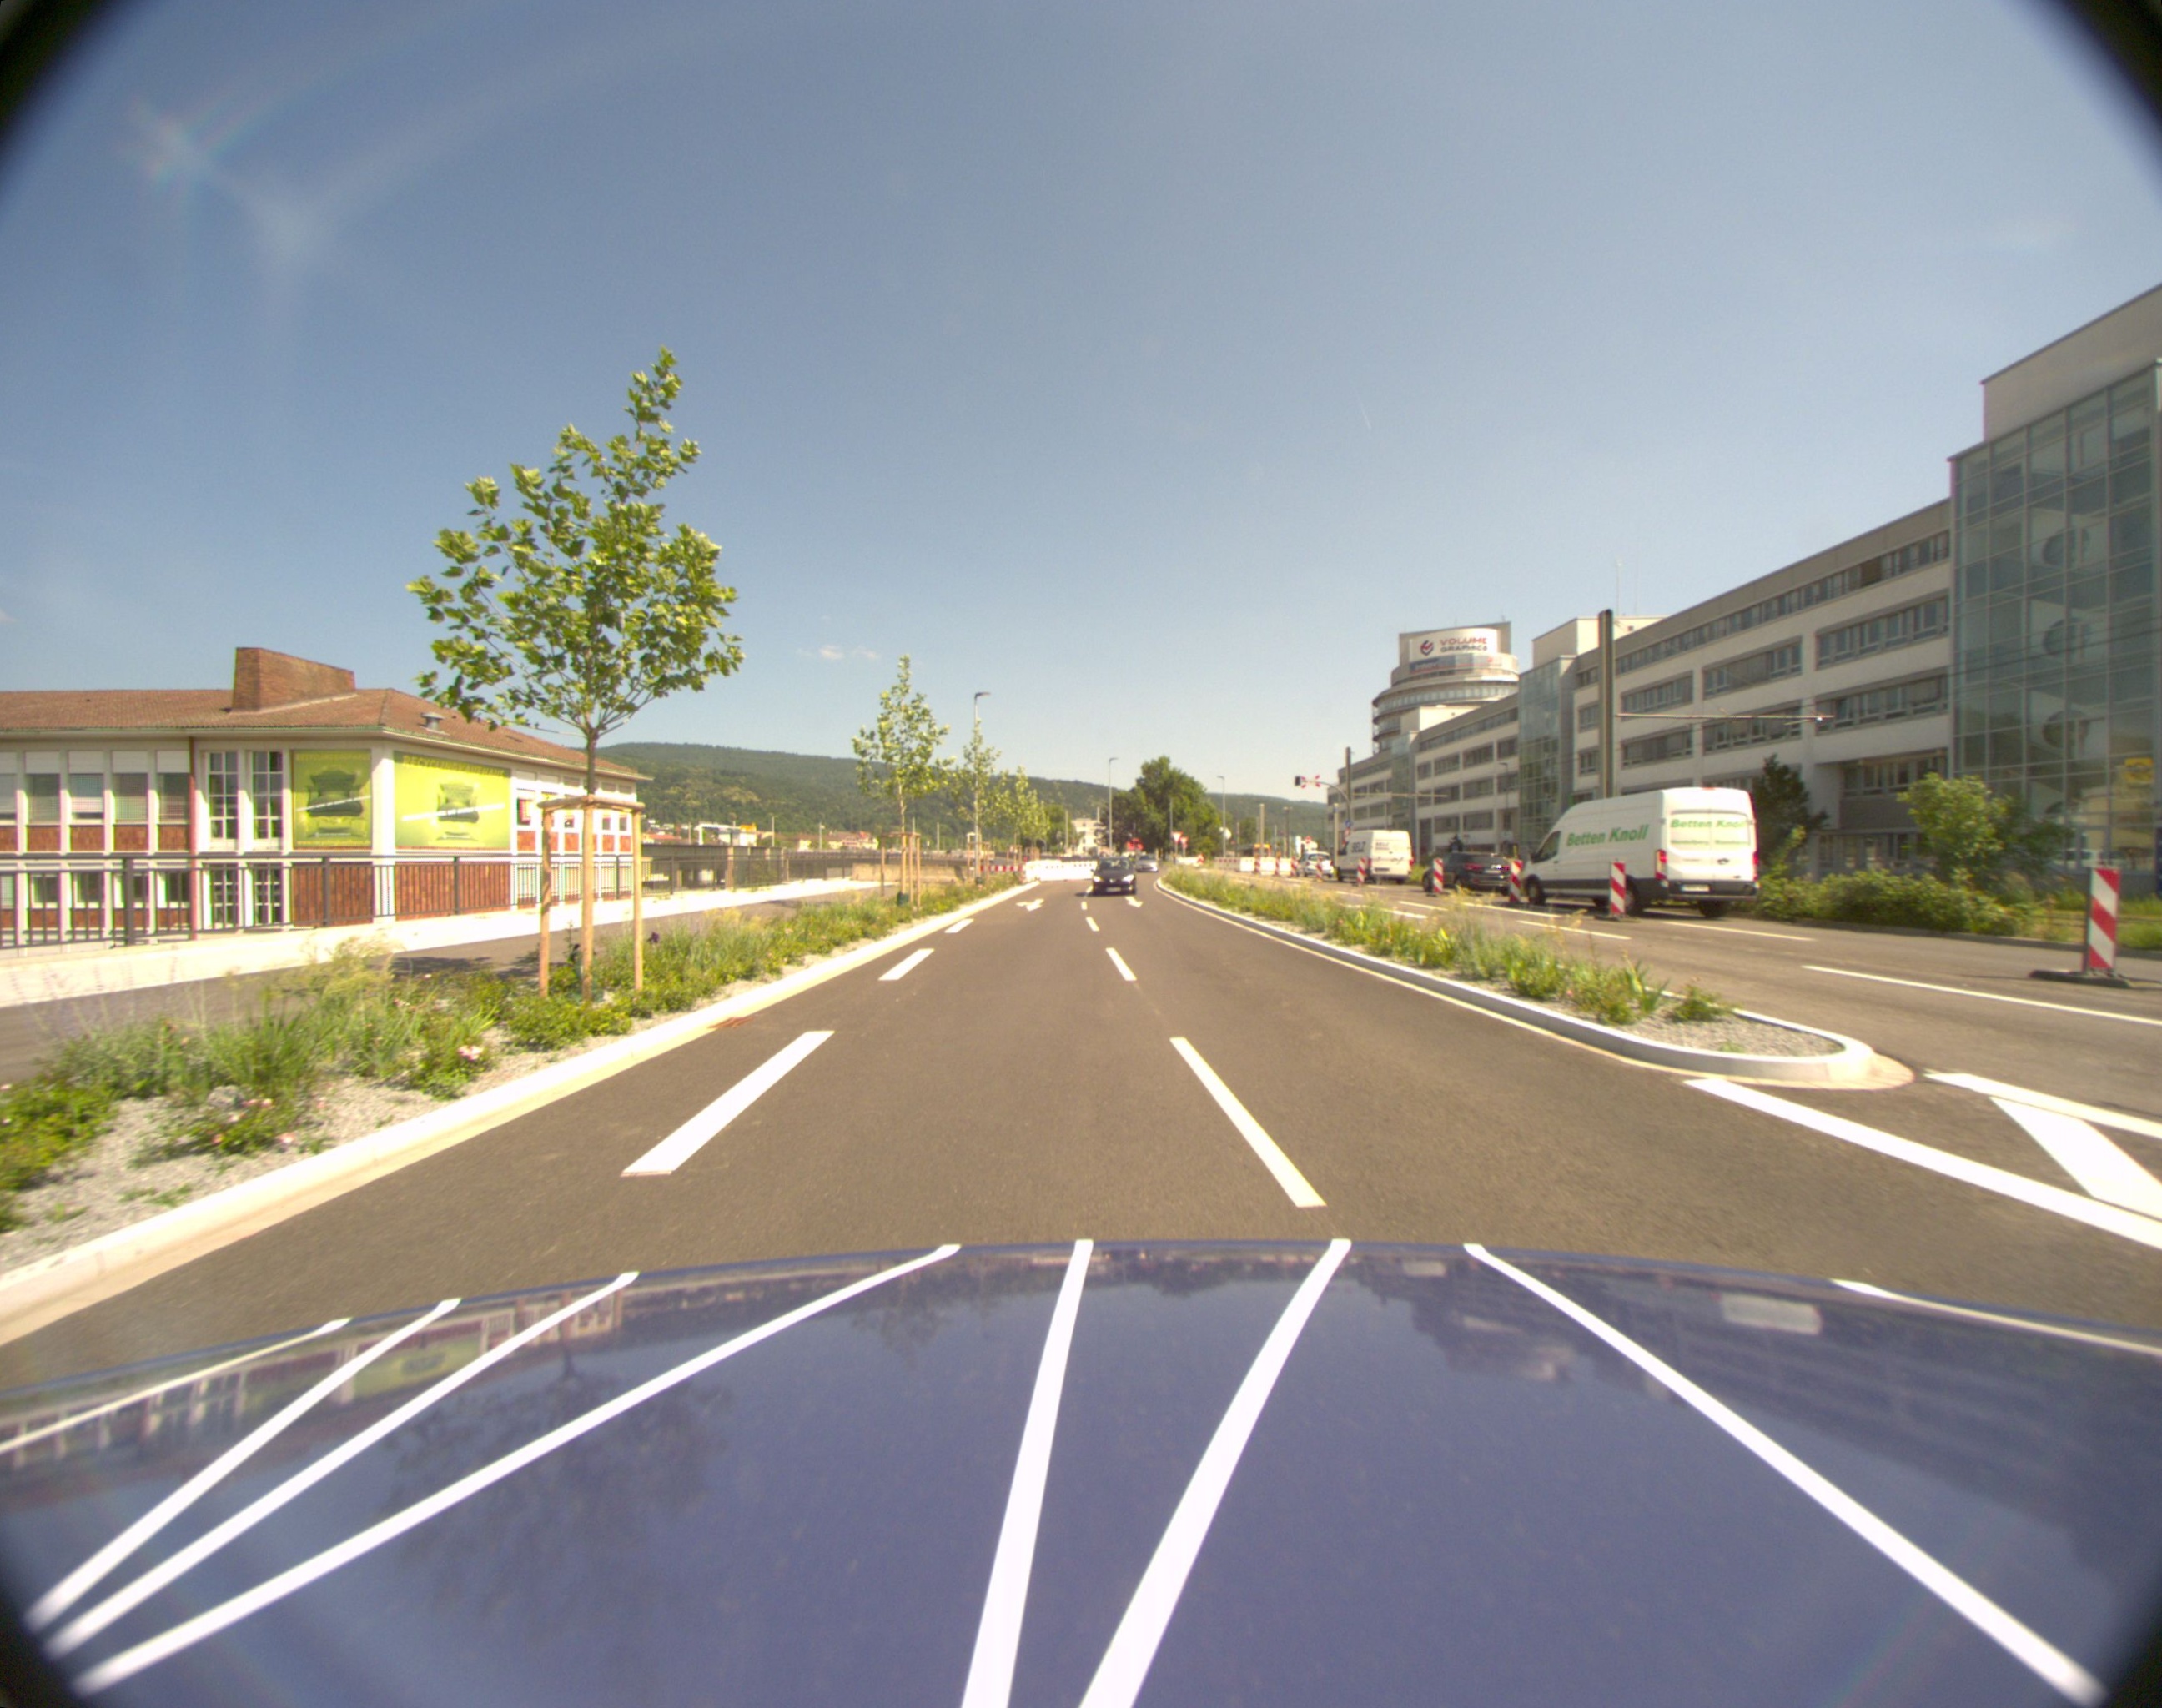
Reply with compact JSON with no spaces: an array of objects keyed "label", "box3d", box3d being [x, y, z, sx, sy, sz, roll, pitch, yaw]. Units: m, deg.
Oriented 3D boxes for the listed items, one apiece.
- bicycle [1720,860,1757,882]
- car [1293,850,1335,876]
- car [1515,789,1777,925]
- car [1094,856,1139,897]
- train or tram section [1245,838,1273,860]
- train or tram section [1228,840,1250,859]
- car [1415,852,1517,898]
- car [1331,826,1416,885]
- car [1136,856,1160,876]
[{"label":"bicycle","box3d":[38.227,0.974,44.182,1.650,1.182,0.438,-2,0,3]},{"label":"car","box3d":[14.357,0.530,47.025,1.584,1.532,3.979,2,0,5]},{"label":"car","box3d":[13.152,0.040,18.412,2.082,2.724,5.987,1,0,3]},{"label":"car","box3d":[1.315,0.803,29.068,1.618,1.433,3.706,0,1,1]},{"label":"train or tram section","box3d":[29.341,-0.777,125.798,2.630,3.430,11.784,-2,0,4]},{"label":"train or tram section","box3d":[30.934,-0.873,149.279,2.630,3.430,11.784,-2,0,4]},{"label":"car","box3d":[13.332,0.669,26.561,1.549,1.448,4.193,2,0,3]},{"label":"car","box3d":[14.196,0.061,37.299,2.035,2.563,6.196,2,0,4]},{"label":"car","box3d":[5.344,0.916,60.849,1.618,1.433,3.768,-1,1,1]}]
